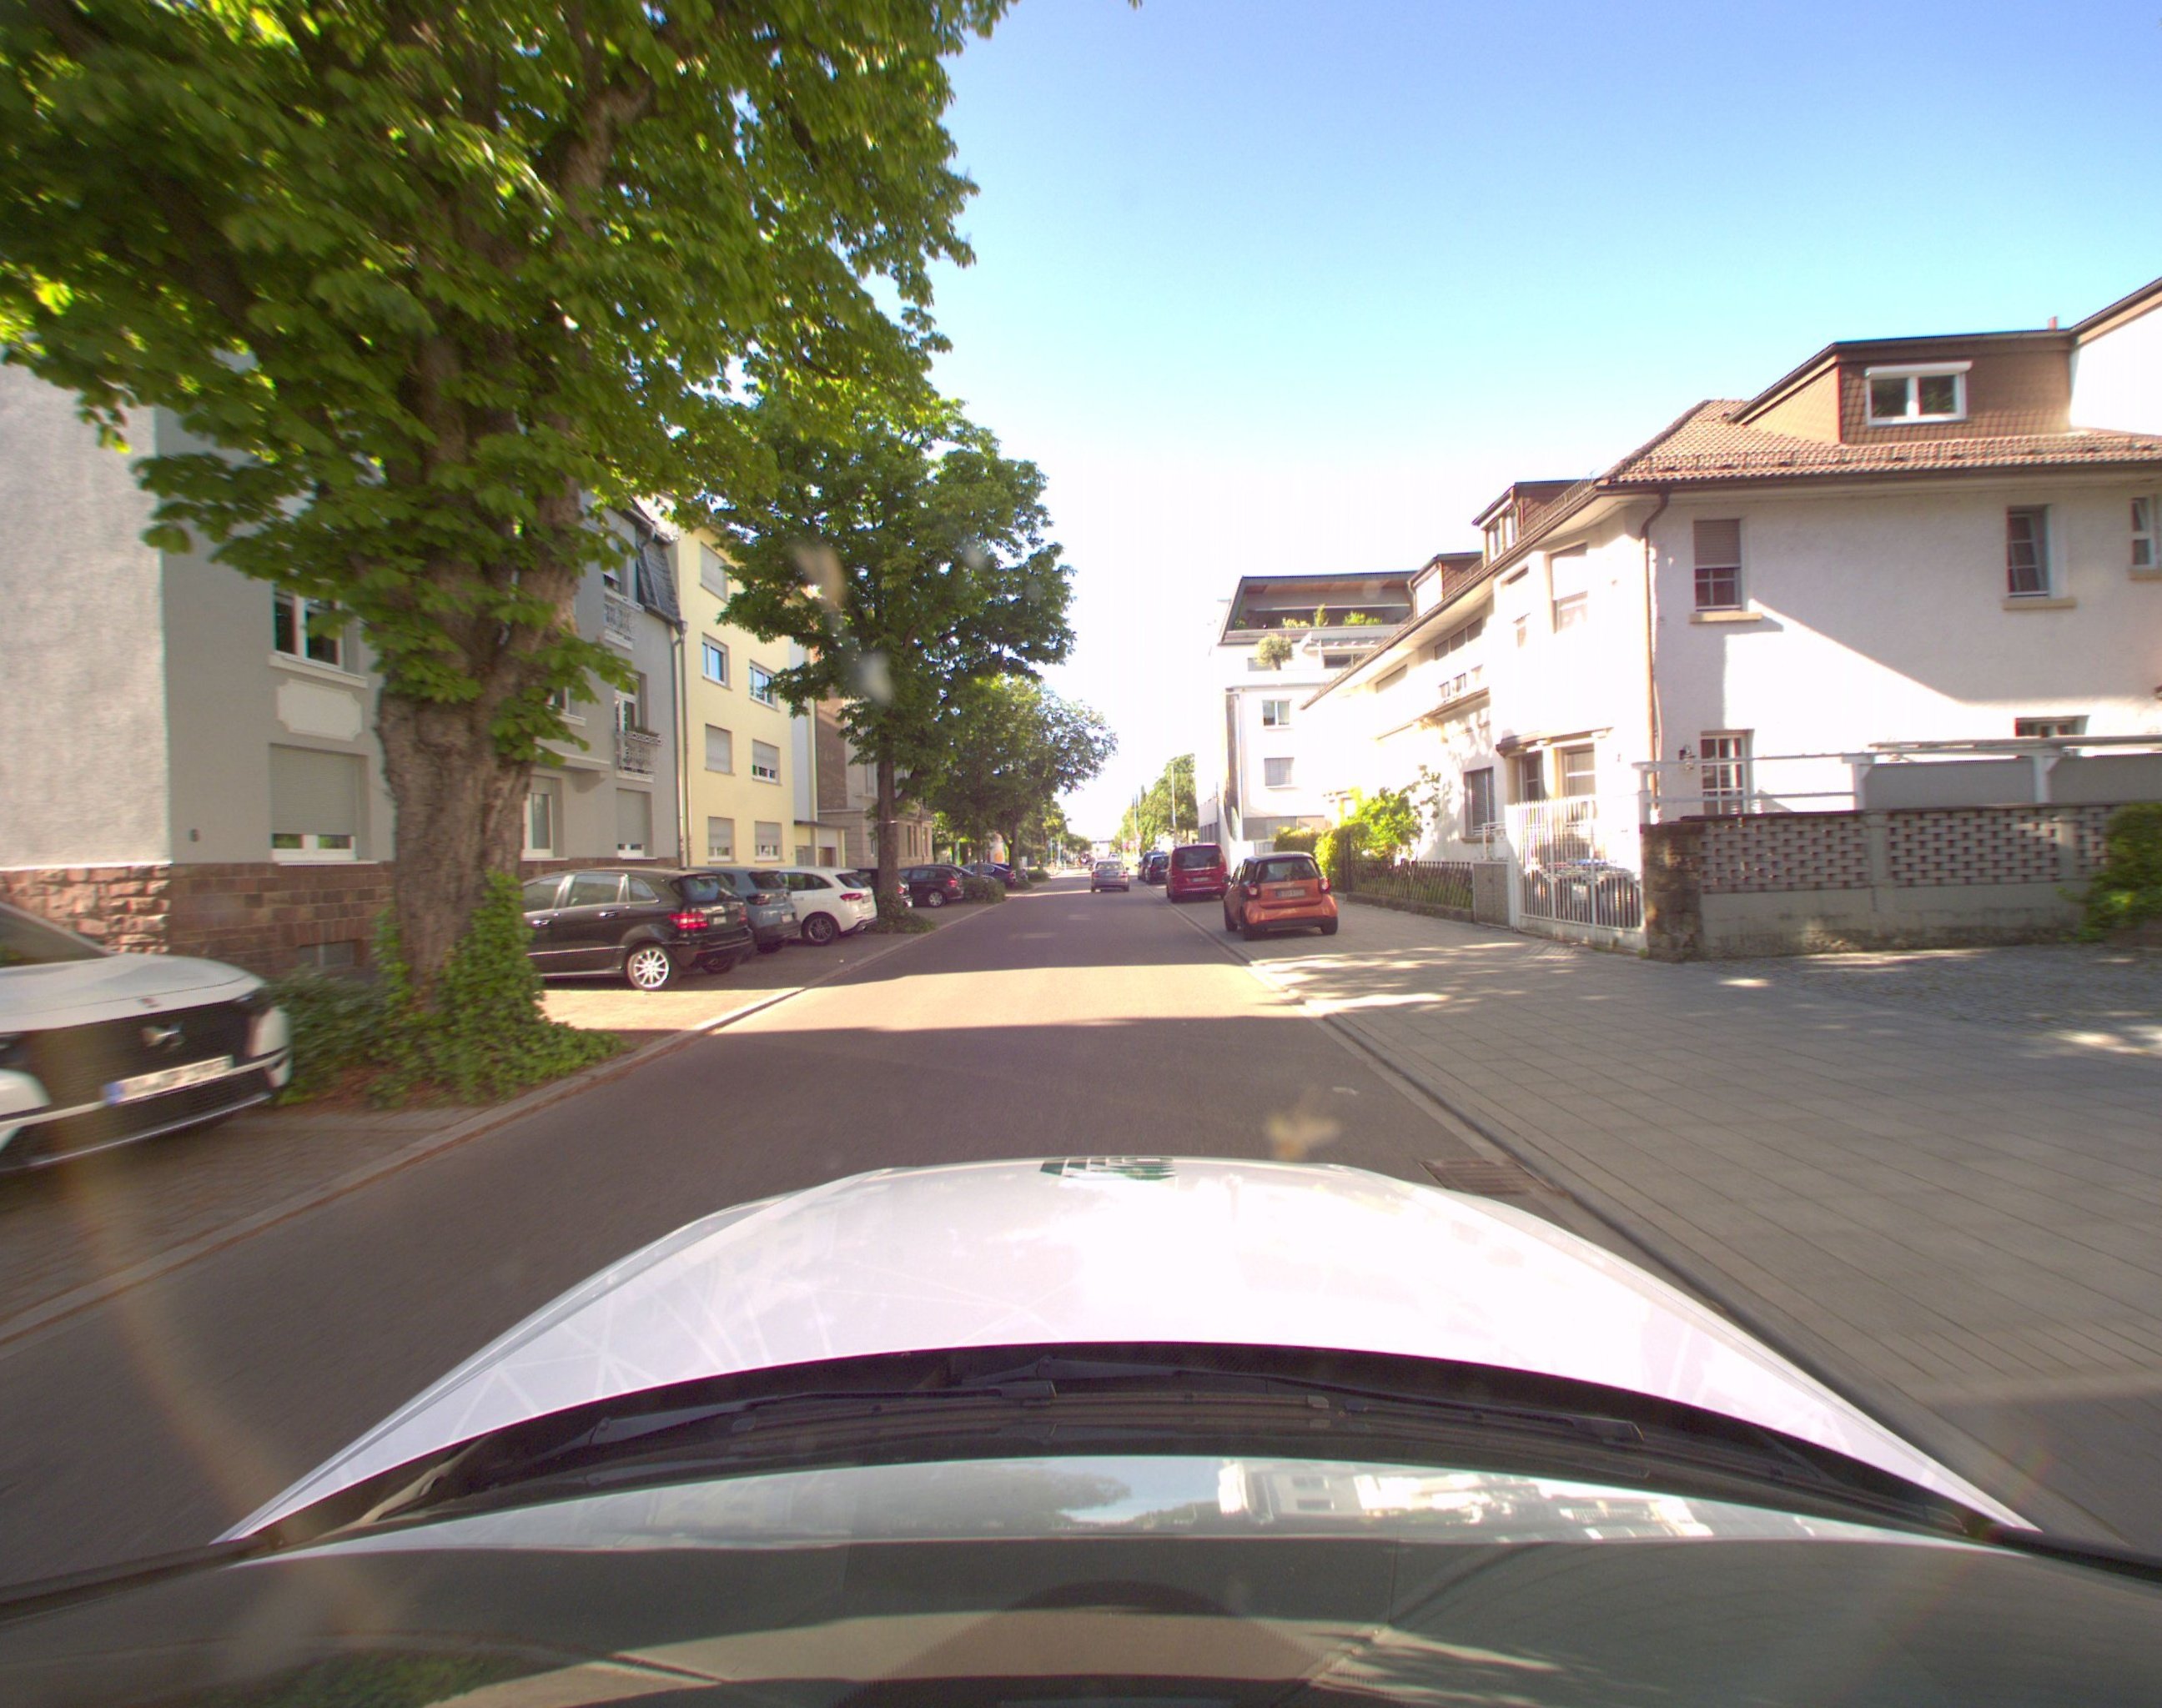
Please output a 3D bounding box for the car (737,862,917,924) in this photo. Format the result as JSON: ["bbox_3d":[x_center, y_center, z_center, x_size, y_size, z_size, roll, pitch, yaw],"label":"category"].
[{"bbox_3d":[-6.305,0.975,20.626,4.017,1.444,1.796,1,-2,-6],"label":"car"}]

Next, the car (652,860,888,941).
[{"bbox_3d":[-6.138,0.893,16.421,4.008,1.485,1.807,1,0,0],"label":"car"}]

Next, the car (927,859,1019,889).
[{"bbox_3d":[-5.468,1.037,41.726,4.460,1.479,1.868,0,-1,-1],"label":"car"}]

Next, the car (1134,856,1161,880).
[{"bbox_3d":[4.480,0.960,55.097,1.558,1.410,3.732,-5,-2,3],"label":"car"}]

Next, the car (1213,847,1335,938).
[{"bbox_3d":[3.598,0.681,15.726,1.586,1.480,3.248,-3,-1,1],"label":"car"}]

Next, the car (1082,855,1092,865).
[{"bbox_3d":[1.209,1.184,160.895,1.783,1.532,3.995,-3,-4,-3],"label":"car"}]

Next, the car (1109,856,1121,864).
[{"bbox_3d":[5.844,1.075,139.741,1.718,1.330,3.996,-2,0,-3],"label":"car"}]

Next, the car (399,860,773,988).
[{"bbox_3d":[-6.667,0.887,11.300,3.969,1.575,1.983,0,0,4],"label":"car"}]

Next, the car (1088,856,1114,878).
[{"bbox_3d":[1.399,0.910,56.463,1.701,1.448,4.203,1,-1,1],"label":"car"}]

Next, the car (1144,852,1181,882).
[{"bbox_3d":[4.453,0.666,44.963,1.730,1.531,4.180,-2,0,2],"label":"car"}]

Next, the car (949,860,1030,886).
[{"bbox_3d":[-5.278,1.098,47.214,4.460,1.479,1.868,0,-1,-1],"label":"car"}]

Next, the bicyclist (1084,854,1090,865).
[{"bbox_3d":[0.836,0.818,113.694,0.678,1.509,0.655,-1,0,3],"label":"bicyclist"}]

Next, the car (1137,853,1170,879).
[{"bbox_3d":[4.473,0.763,50.734,1.676,1.435,4.267,-5,-2,2],"label":"car"}]

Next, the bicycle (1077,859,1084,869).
[{"bbox_3d":[-0.050,1.075,87.891,0.716,1.079,1.891,-2,0,2],"label":"bicycle"}]

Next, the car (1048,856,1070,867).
[{"bbox_3d":[-3.581,1.226,132.218,3.488,1.533,1.642,-2,0,-6],"label":"car"}]

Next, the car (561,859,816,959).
[{"bbox_3d":[-6.631,0.889,14.025,3.499,1.575,1.772,0,0,4],"label":"car"}]

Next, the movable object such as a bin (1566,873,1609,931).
[{"bbox_3d":[8.164,0.766,13.139,0.420,0.903,0.447,1,-2,1],"label":"movable object such as a bin"}]

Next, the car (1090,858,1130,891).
[{"bbox_3d":[1.367,0.953,37.957,1.720,1.420,3.962,1,-1,3],"label":"car"}]

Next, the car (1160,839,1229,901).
[{"bbox_3d":[3.828,0.550,28.343,1.864,1.905,5.200,-2,-1,3],"label":"car"}]

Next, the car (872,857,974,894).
[{"bbox_3d":[-6.812,0.927,35.544,4.167,1.500,1.996,1,-1,-6],"label":"car"}]

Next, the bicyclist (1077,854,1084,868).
[{"bbox_3d":[-0.080,0.737,87.980,0.718,1.537,1.137,-2,-1,2],"label":"bicyclist"}]

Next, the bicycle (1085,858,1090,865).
[{"bbox_3d":[0.846,1.060,113.650,0.587,0.931,1.851,-1,0,3],"label":"bicycle"}]

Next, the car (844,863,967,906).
[{"bbox_3d":[-6.177,1.054,28.954,3.973,1.421,1.771,0,1,0],"label":"car"}]

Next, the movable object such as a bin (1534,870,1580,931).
[{"bbox_3d":[7.680,0.740,13.151,0.448,0.970,0.491,1,-2,1],"label":"movable object such as a bin"}]

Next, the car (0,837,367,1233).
[{"bbox_3d":[-6.685,0.833,4.194,4.369,1.652,1.824,-2,1,2],"label":"car"}]

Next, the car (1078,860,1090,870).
[{"bbox_3d":[0.465,1.863,137.679,1.868,1.728,3.996,-1,0,-3],"label":"car"}]
